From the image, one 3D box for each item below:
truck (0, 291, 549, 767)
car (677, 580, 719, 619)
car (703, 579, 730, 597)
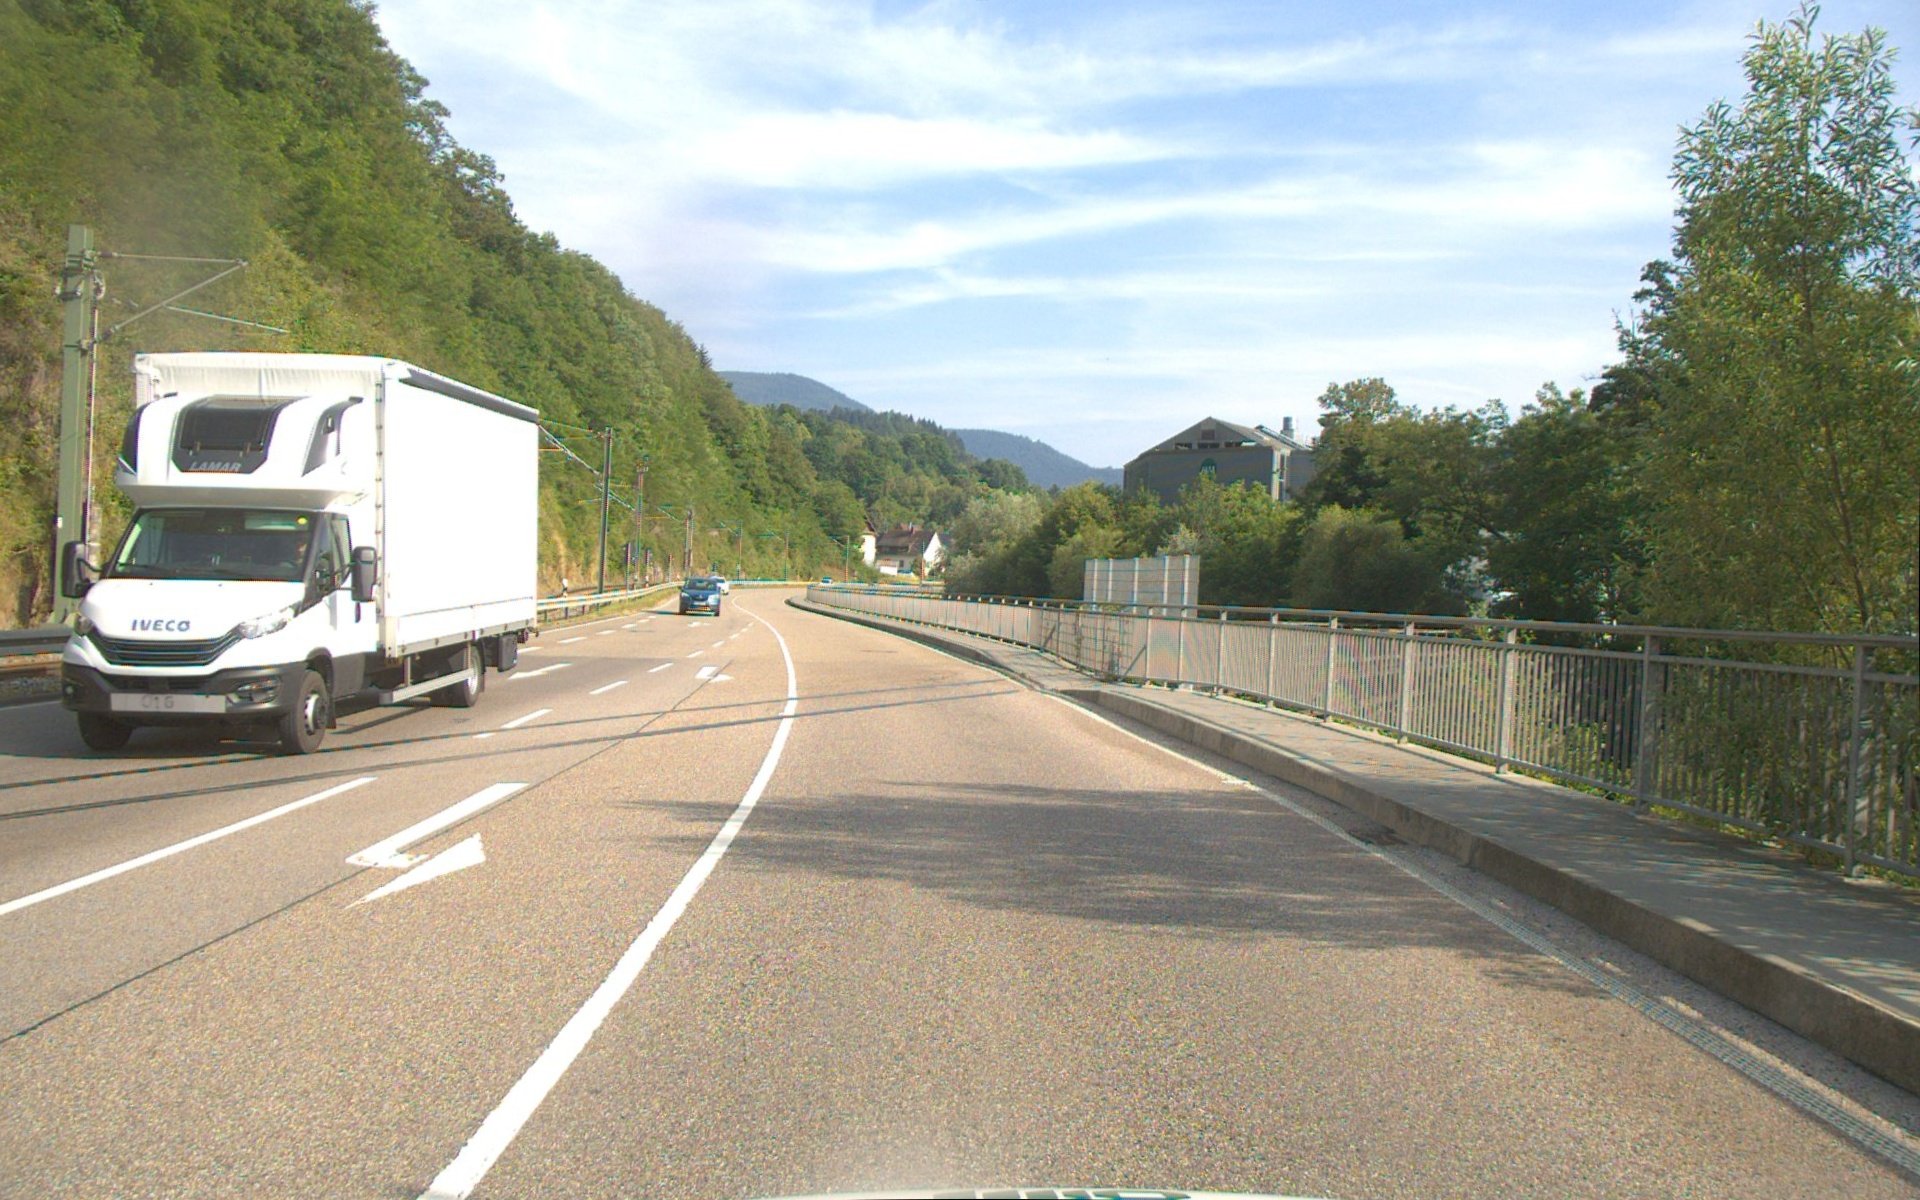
[{"bbox_3d":[-6.871,-0.647,18.001,2.839,3.865,8.891,1,1,-2],"label":"truck"},{"bbox_3d":[-11.235,-0.042,71.033,1.687,1.598,4.127,1,0,-9],"label":"car"},{"bbox_3d":[-20.848,-1.009,141.841,2.024,1.464,4.680,1,0,-6],"label":"car"}]
